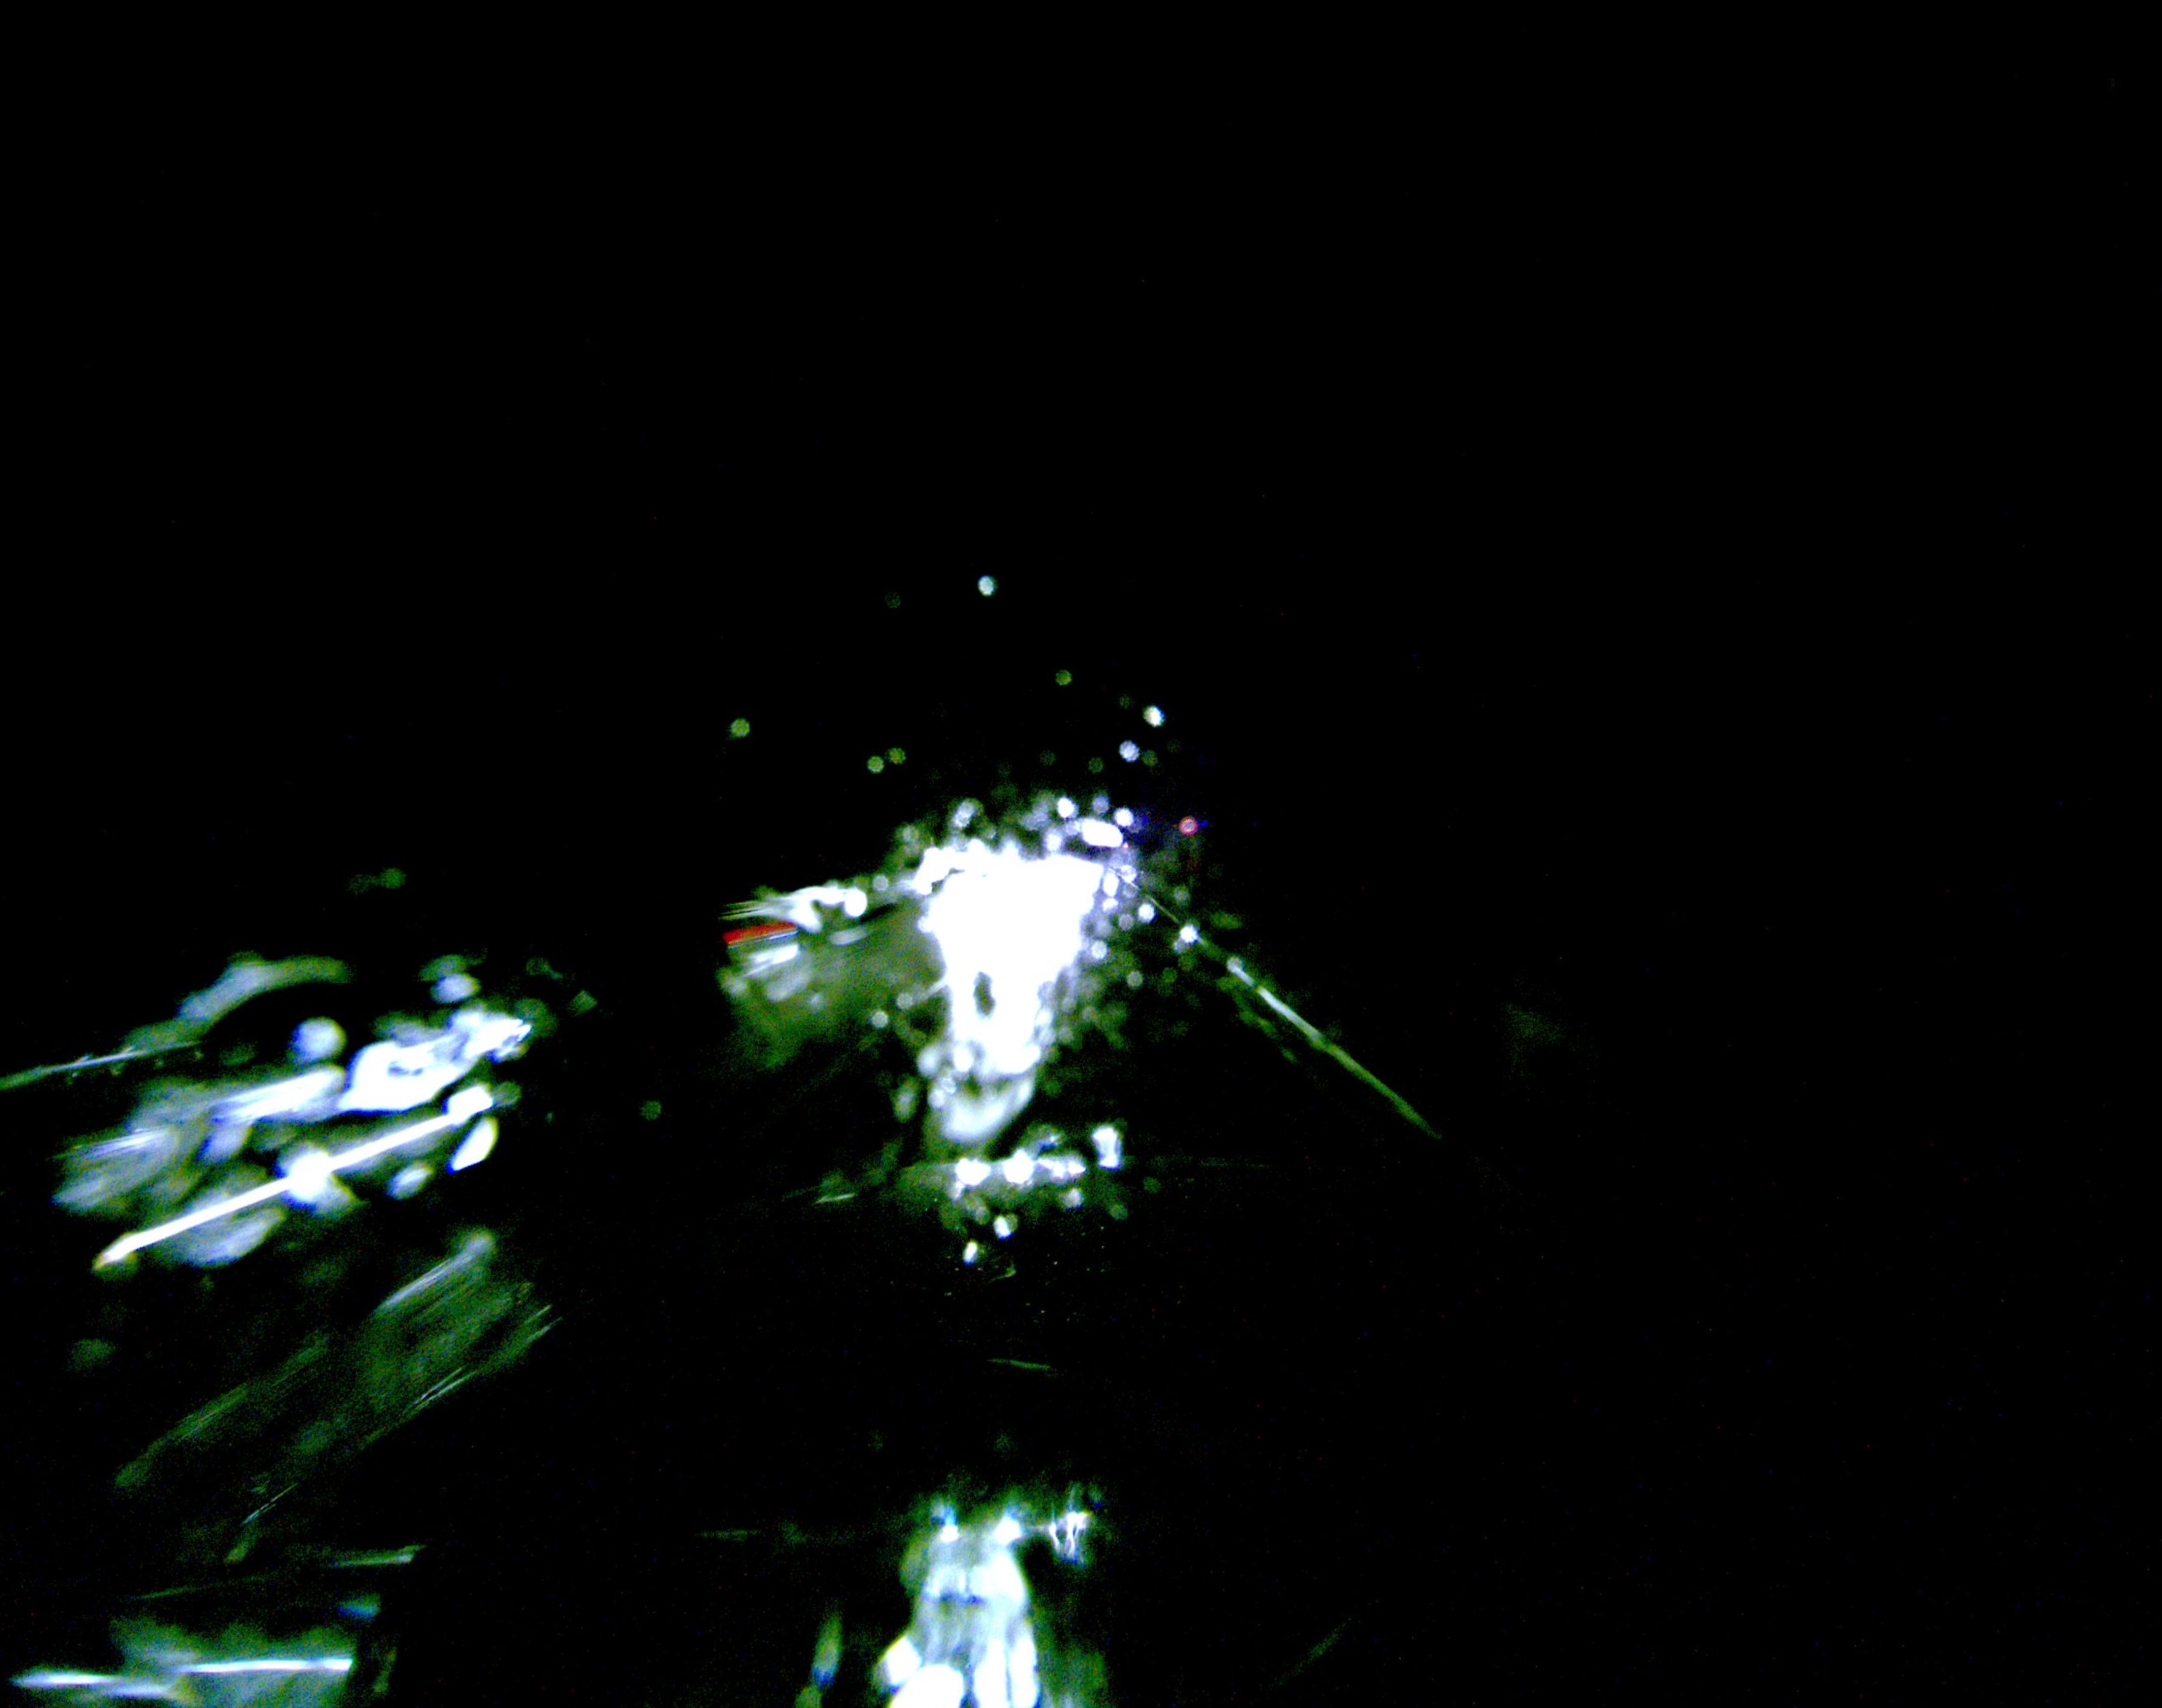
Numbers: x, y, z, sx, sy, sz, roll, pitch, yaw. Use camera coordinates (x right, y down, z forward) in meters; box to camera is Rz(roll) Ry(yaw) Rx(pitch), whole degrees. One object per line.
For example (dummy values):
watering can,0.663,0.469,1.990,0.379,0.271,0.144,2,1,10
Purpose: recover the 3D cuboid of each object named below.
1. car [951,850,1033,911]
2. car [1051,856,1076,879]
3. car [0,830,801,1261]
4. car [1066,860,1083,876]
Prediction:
car,-2.711,0.819,25.769,2.033,1.607,3.998,-4,-1,0
car,-1.526,1.218,72.012,1.772,1.880,4.001,-5,-1,3
car,-3.588,0.796,5.411,1.882,1.635,4.390,-2,-1,0
car,-0.749,1.719,97.528,1.772,1.702,4.001,-5,-1,3
